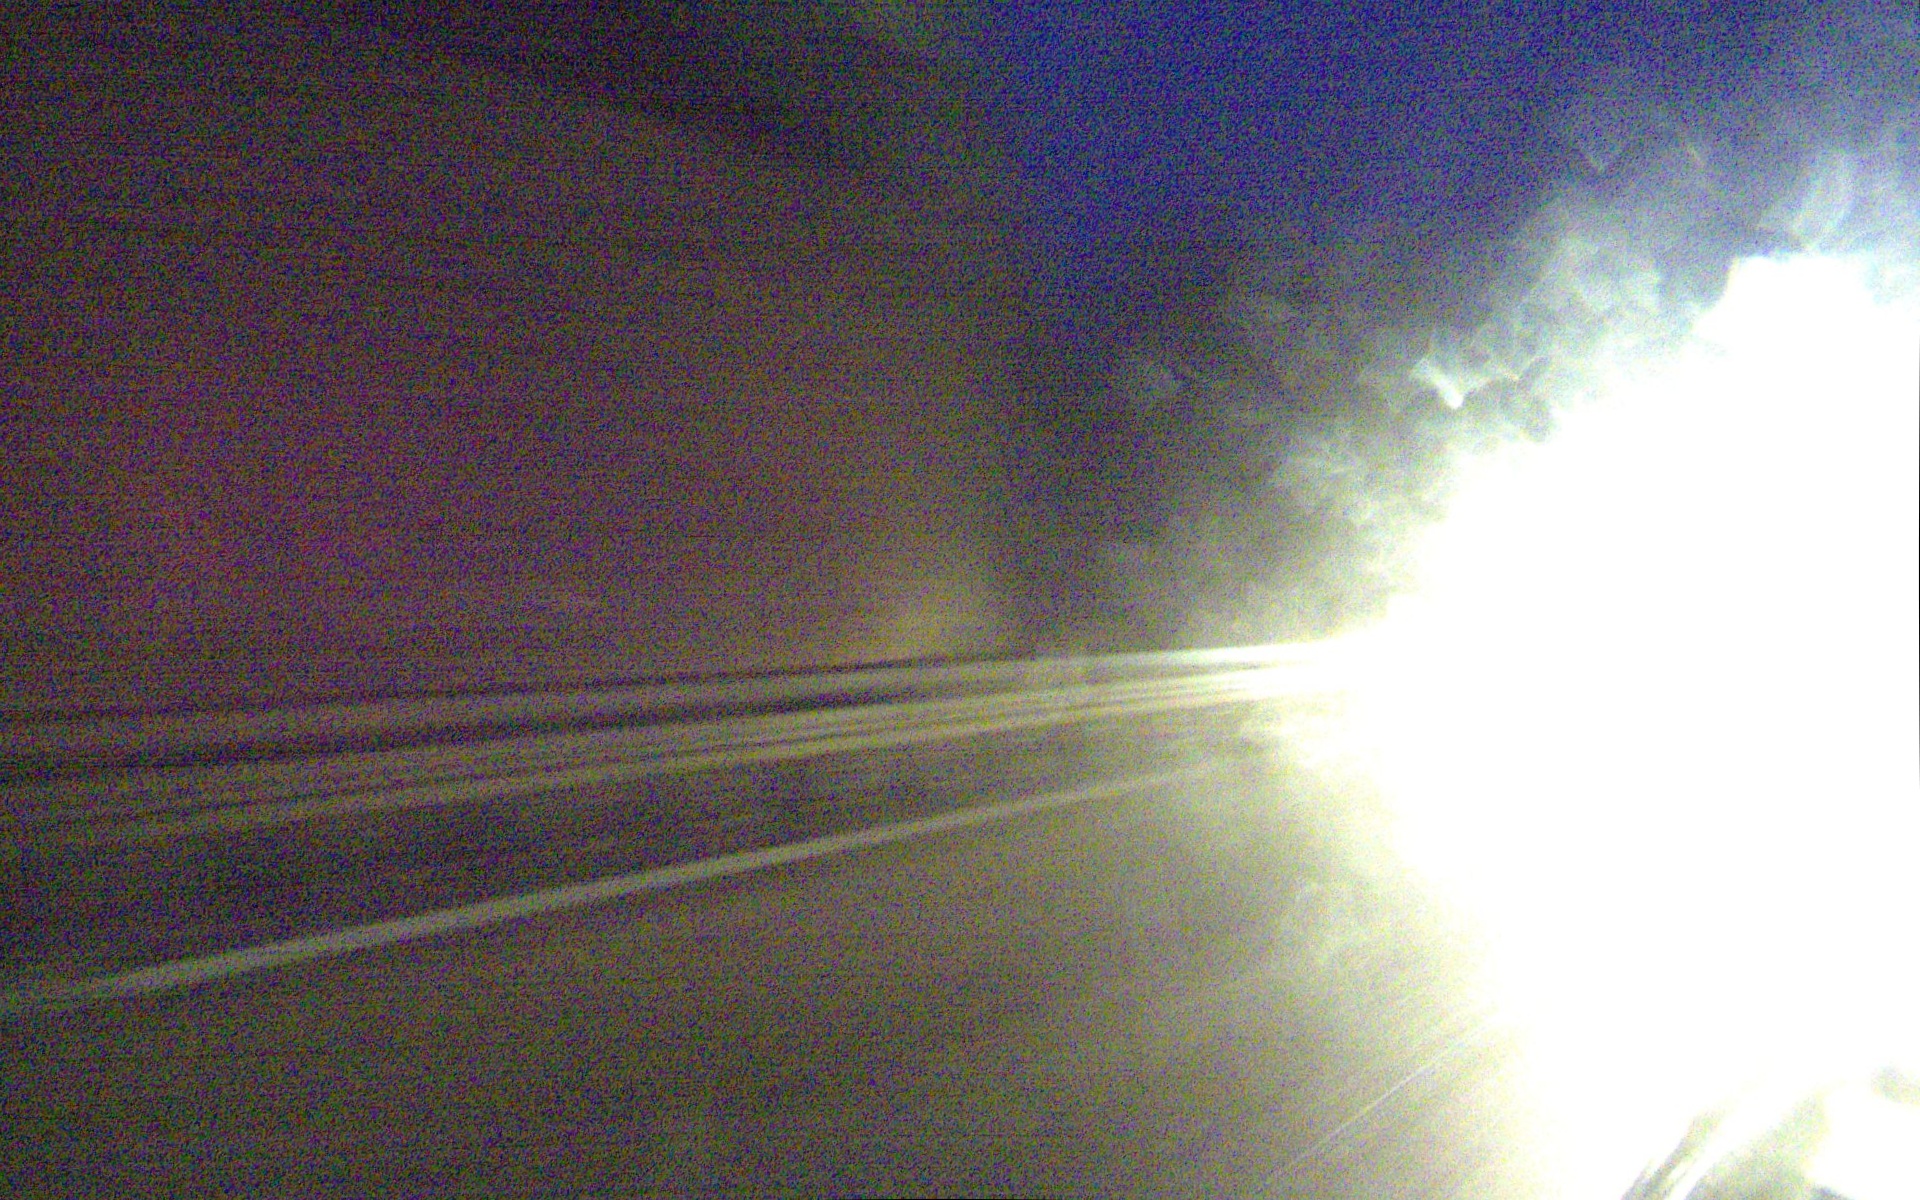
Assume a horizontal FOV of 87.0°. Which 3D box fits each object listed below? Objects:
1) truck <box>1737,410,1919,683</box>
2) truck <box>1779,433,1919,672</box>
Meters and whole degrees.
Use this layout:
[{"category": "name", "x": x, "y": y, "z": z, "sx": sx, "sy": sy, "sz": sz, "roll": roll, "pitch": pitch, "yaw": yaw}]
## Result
[{"category": "truck", "x": 16.706, "y": -0.872, "z": 18.681, "sx": 5.876, "sy": 4.301, "sz": 2.502, "roll": -1, "pitch": 0, "yaw": -40}, {"category": "truck", "x": 21.932, "y": -0.927, "z": 23.057, "sx": 13.400, "sy": 4.301, "sz": 2.502, "roll": -1, "pitch": 0, "yaw": -40}]
